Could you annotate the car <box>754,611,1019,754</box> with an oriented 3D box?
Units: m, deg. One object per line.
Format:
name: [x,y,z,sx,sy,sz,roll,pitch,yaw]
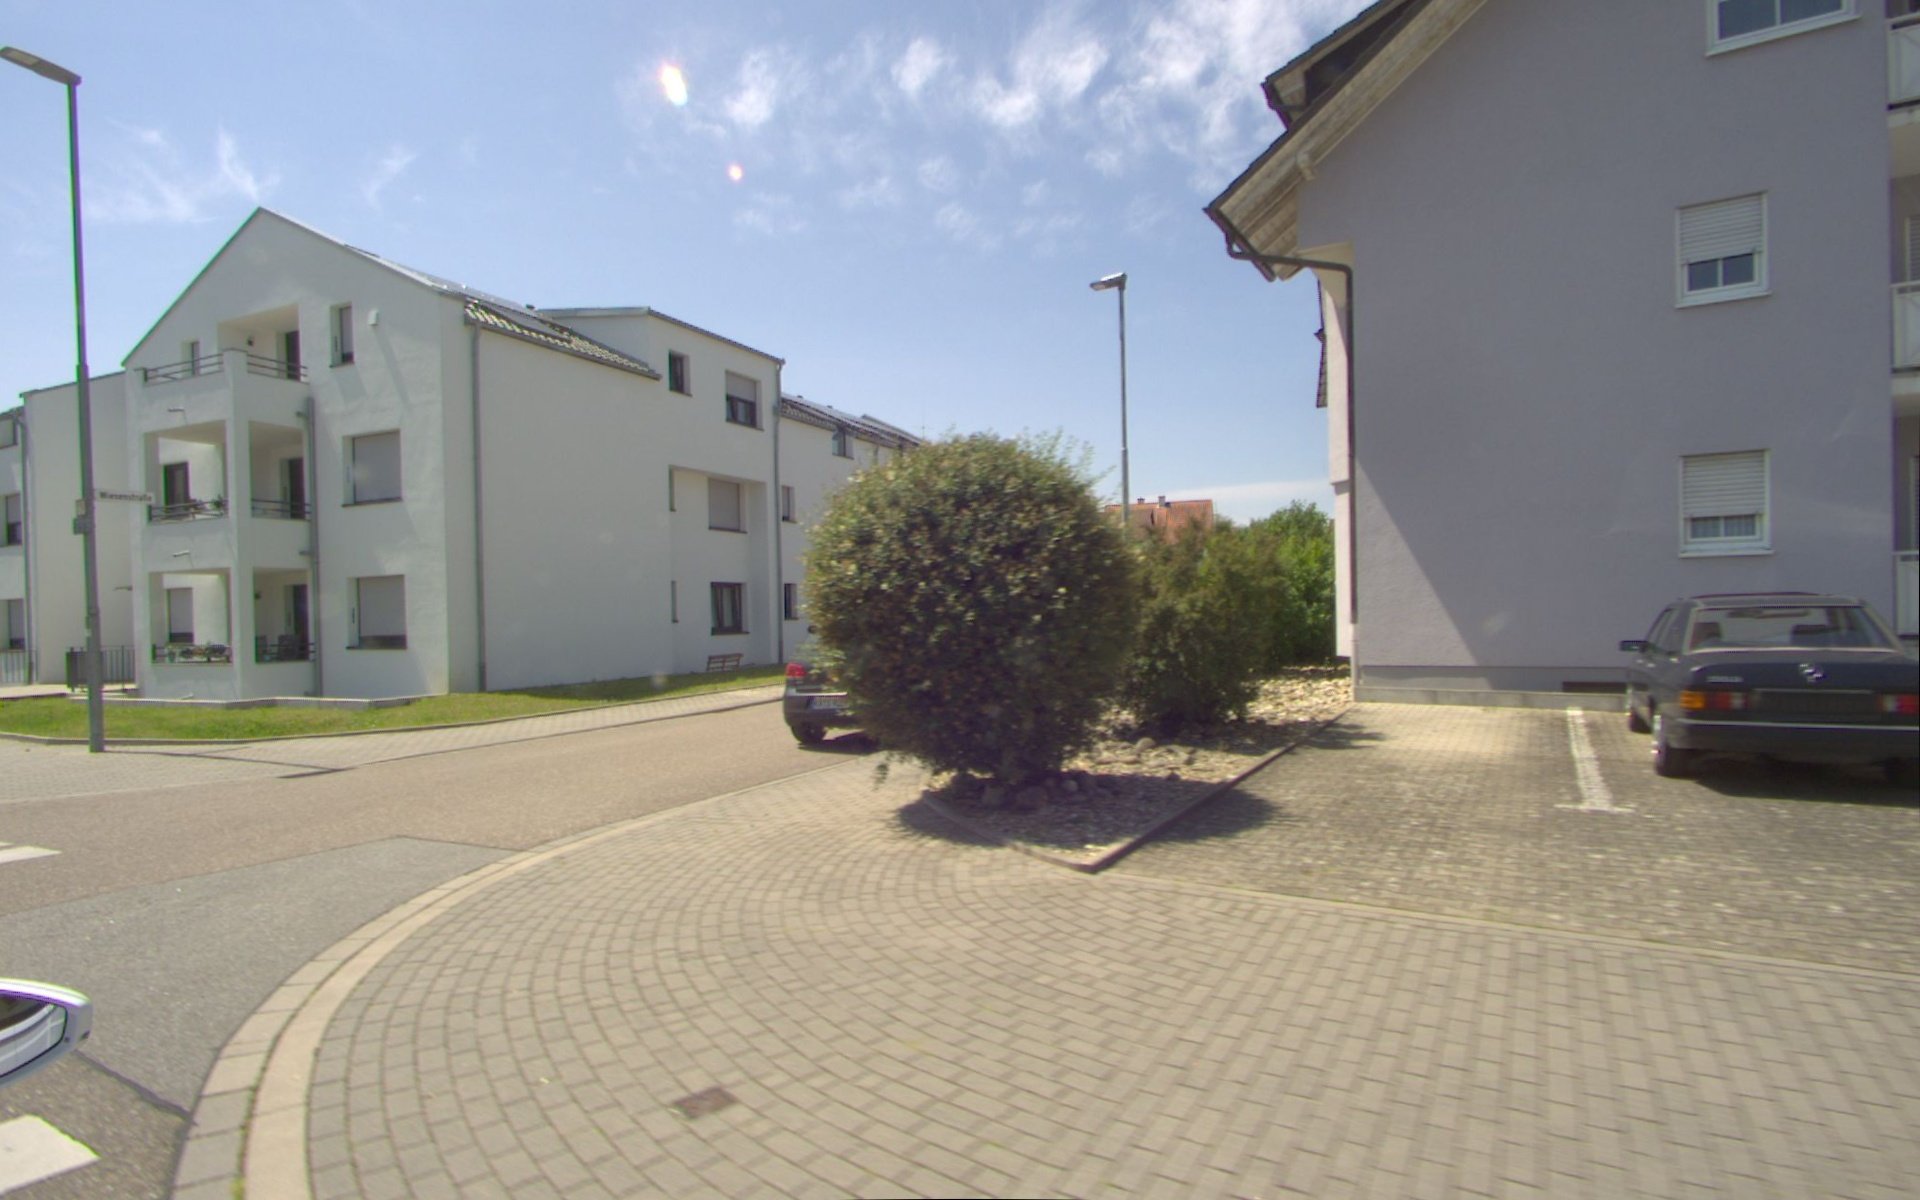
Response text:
car: [-0.738,0.917,12.794,1.727,1.487,3.993,-1,-1,23]

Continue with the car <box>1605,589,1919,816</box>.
car: [6.498,0.640,8.199,1.638,1.392,4.198,-1,0,27]

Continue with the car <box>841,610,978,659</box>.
car: [-1.578,1.078,31.456,3.942,1.431,1.750,-1,0,25]
